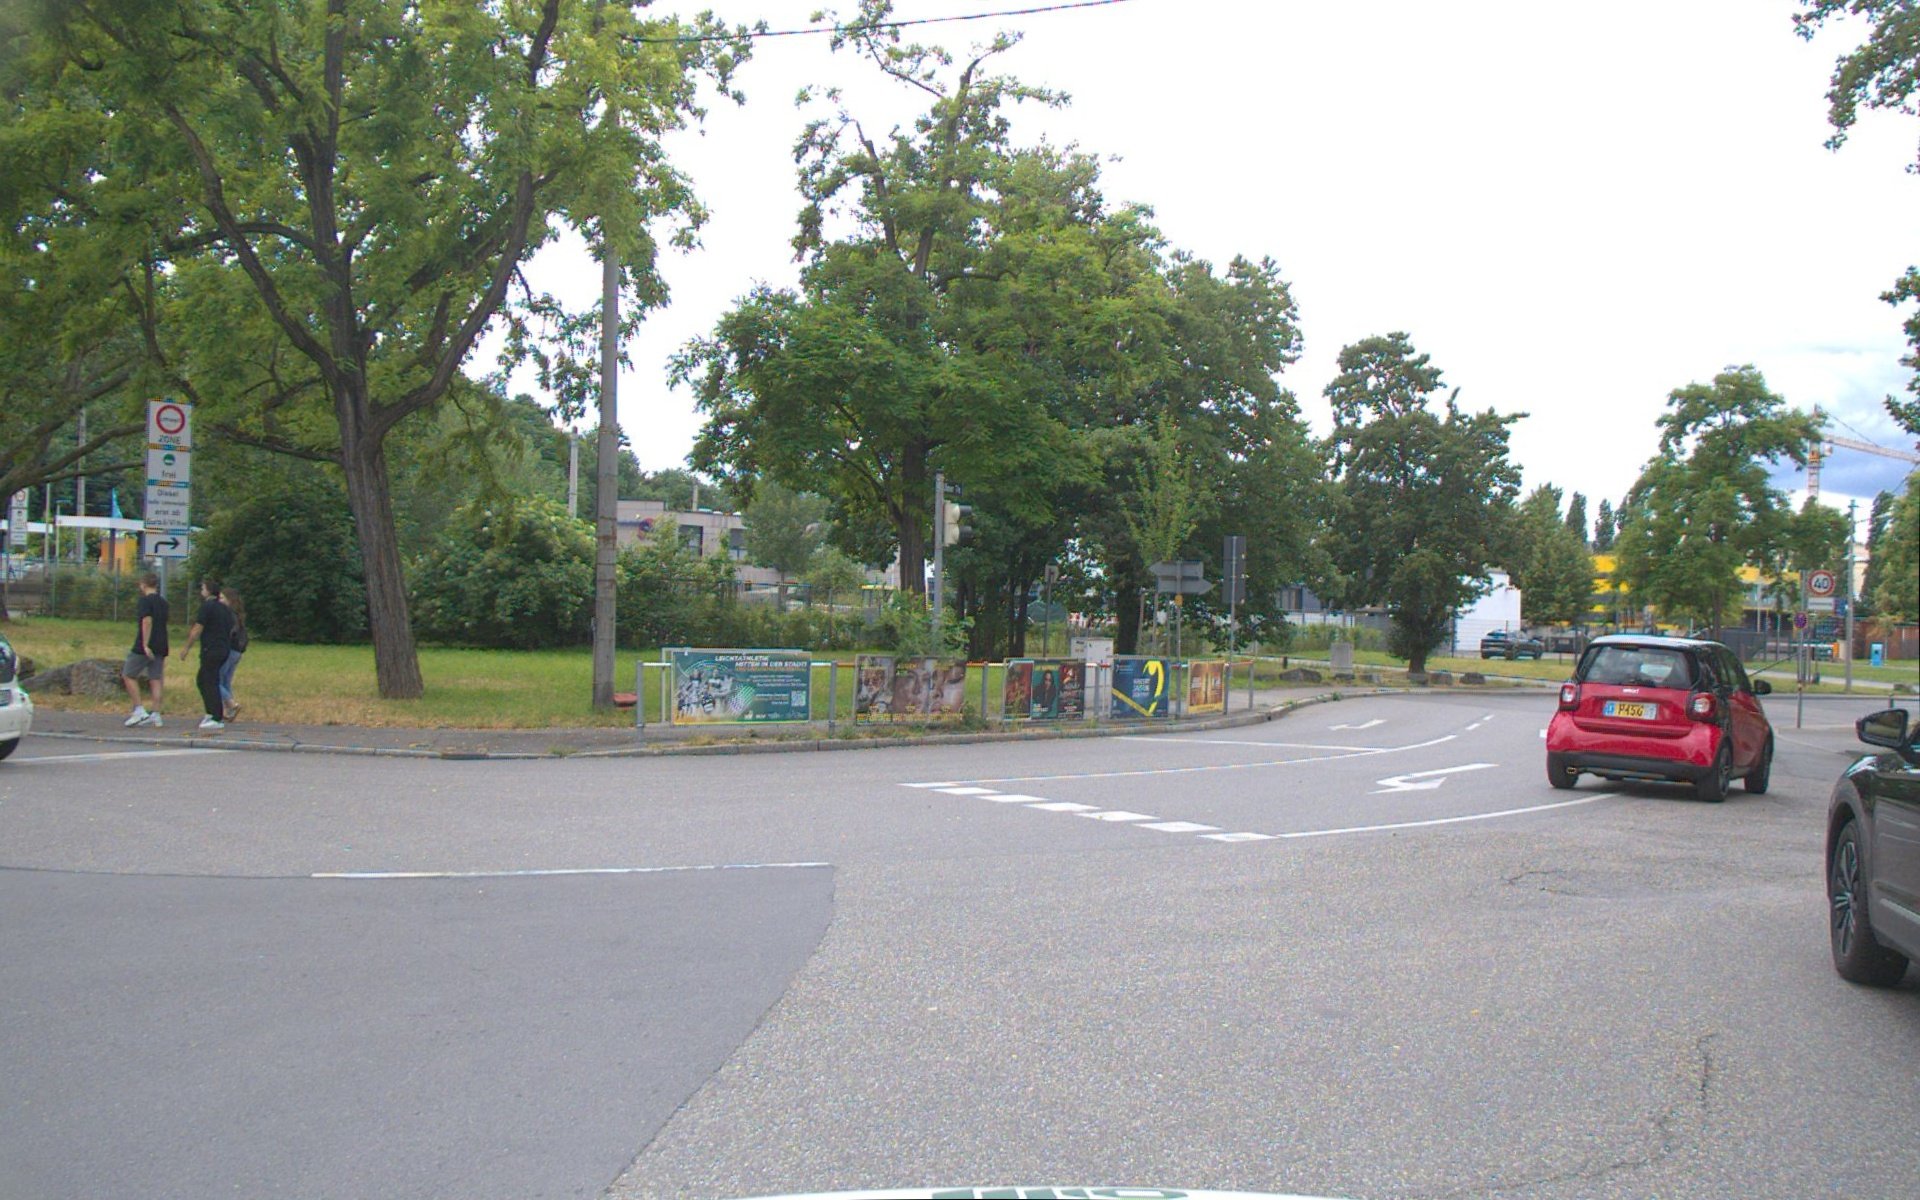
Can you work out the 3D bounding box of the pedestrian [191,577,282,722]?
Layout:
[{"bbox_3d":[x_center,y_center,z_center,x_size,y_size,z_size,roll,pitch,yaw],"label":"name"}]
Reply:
[{"bbox_3d":[-9.103,0.608,20.829,0.769,1.770,0.696,1,0,5],"label":"pedestrian"}]

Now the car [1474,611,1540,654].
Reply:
[{"bbox_3d":[28.258,1.678,85.368,1.932,2.049,4.201,3,0,37],"label":"car"}]

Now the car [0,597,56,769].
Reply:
[{"bbox_3d":[-9.956,0.683,14.286,3.356,1.457,1.641,1,0,-9],"label":"car"}]

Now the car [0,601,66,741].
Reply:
[{"bbox_3d":[-11.812,0.718,17.995,3.346,1.482,1.645,1,-1,12],"label":"car"}]

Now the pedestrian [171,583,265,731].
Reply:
[{"bbox_3d":[-8.998,0.676,20.081,0.769,1.744,0.696,1,0,5],"label":"pedestrian"}]

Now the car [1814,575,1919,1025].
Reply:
[{"bbox_3d":[4.348,0.777,5.528,1.805,1.664,4.188,3,1,16],"label":"car"}]

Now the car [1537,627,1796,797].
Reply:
[{"bbox_3d":[7.247,1.054,16.838,1.684,1.490,3.006,2,0,38],"label":"car"}]

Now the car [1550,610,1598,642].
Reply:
[{"bbox_3d":[42.121,1.818,113.345,1.932,2.049,4.201,3,0,37],"label":"car"}]

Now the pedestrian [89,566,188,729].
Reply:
[{"bbox_3d":[-9.801,0.552,19.763,0.769,1.889,0.696,1,0,5],"label":"pedestrian"}]
